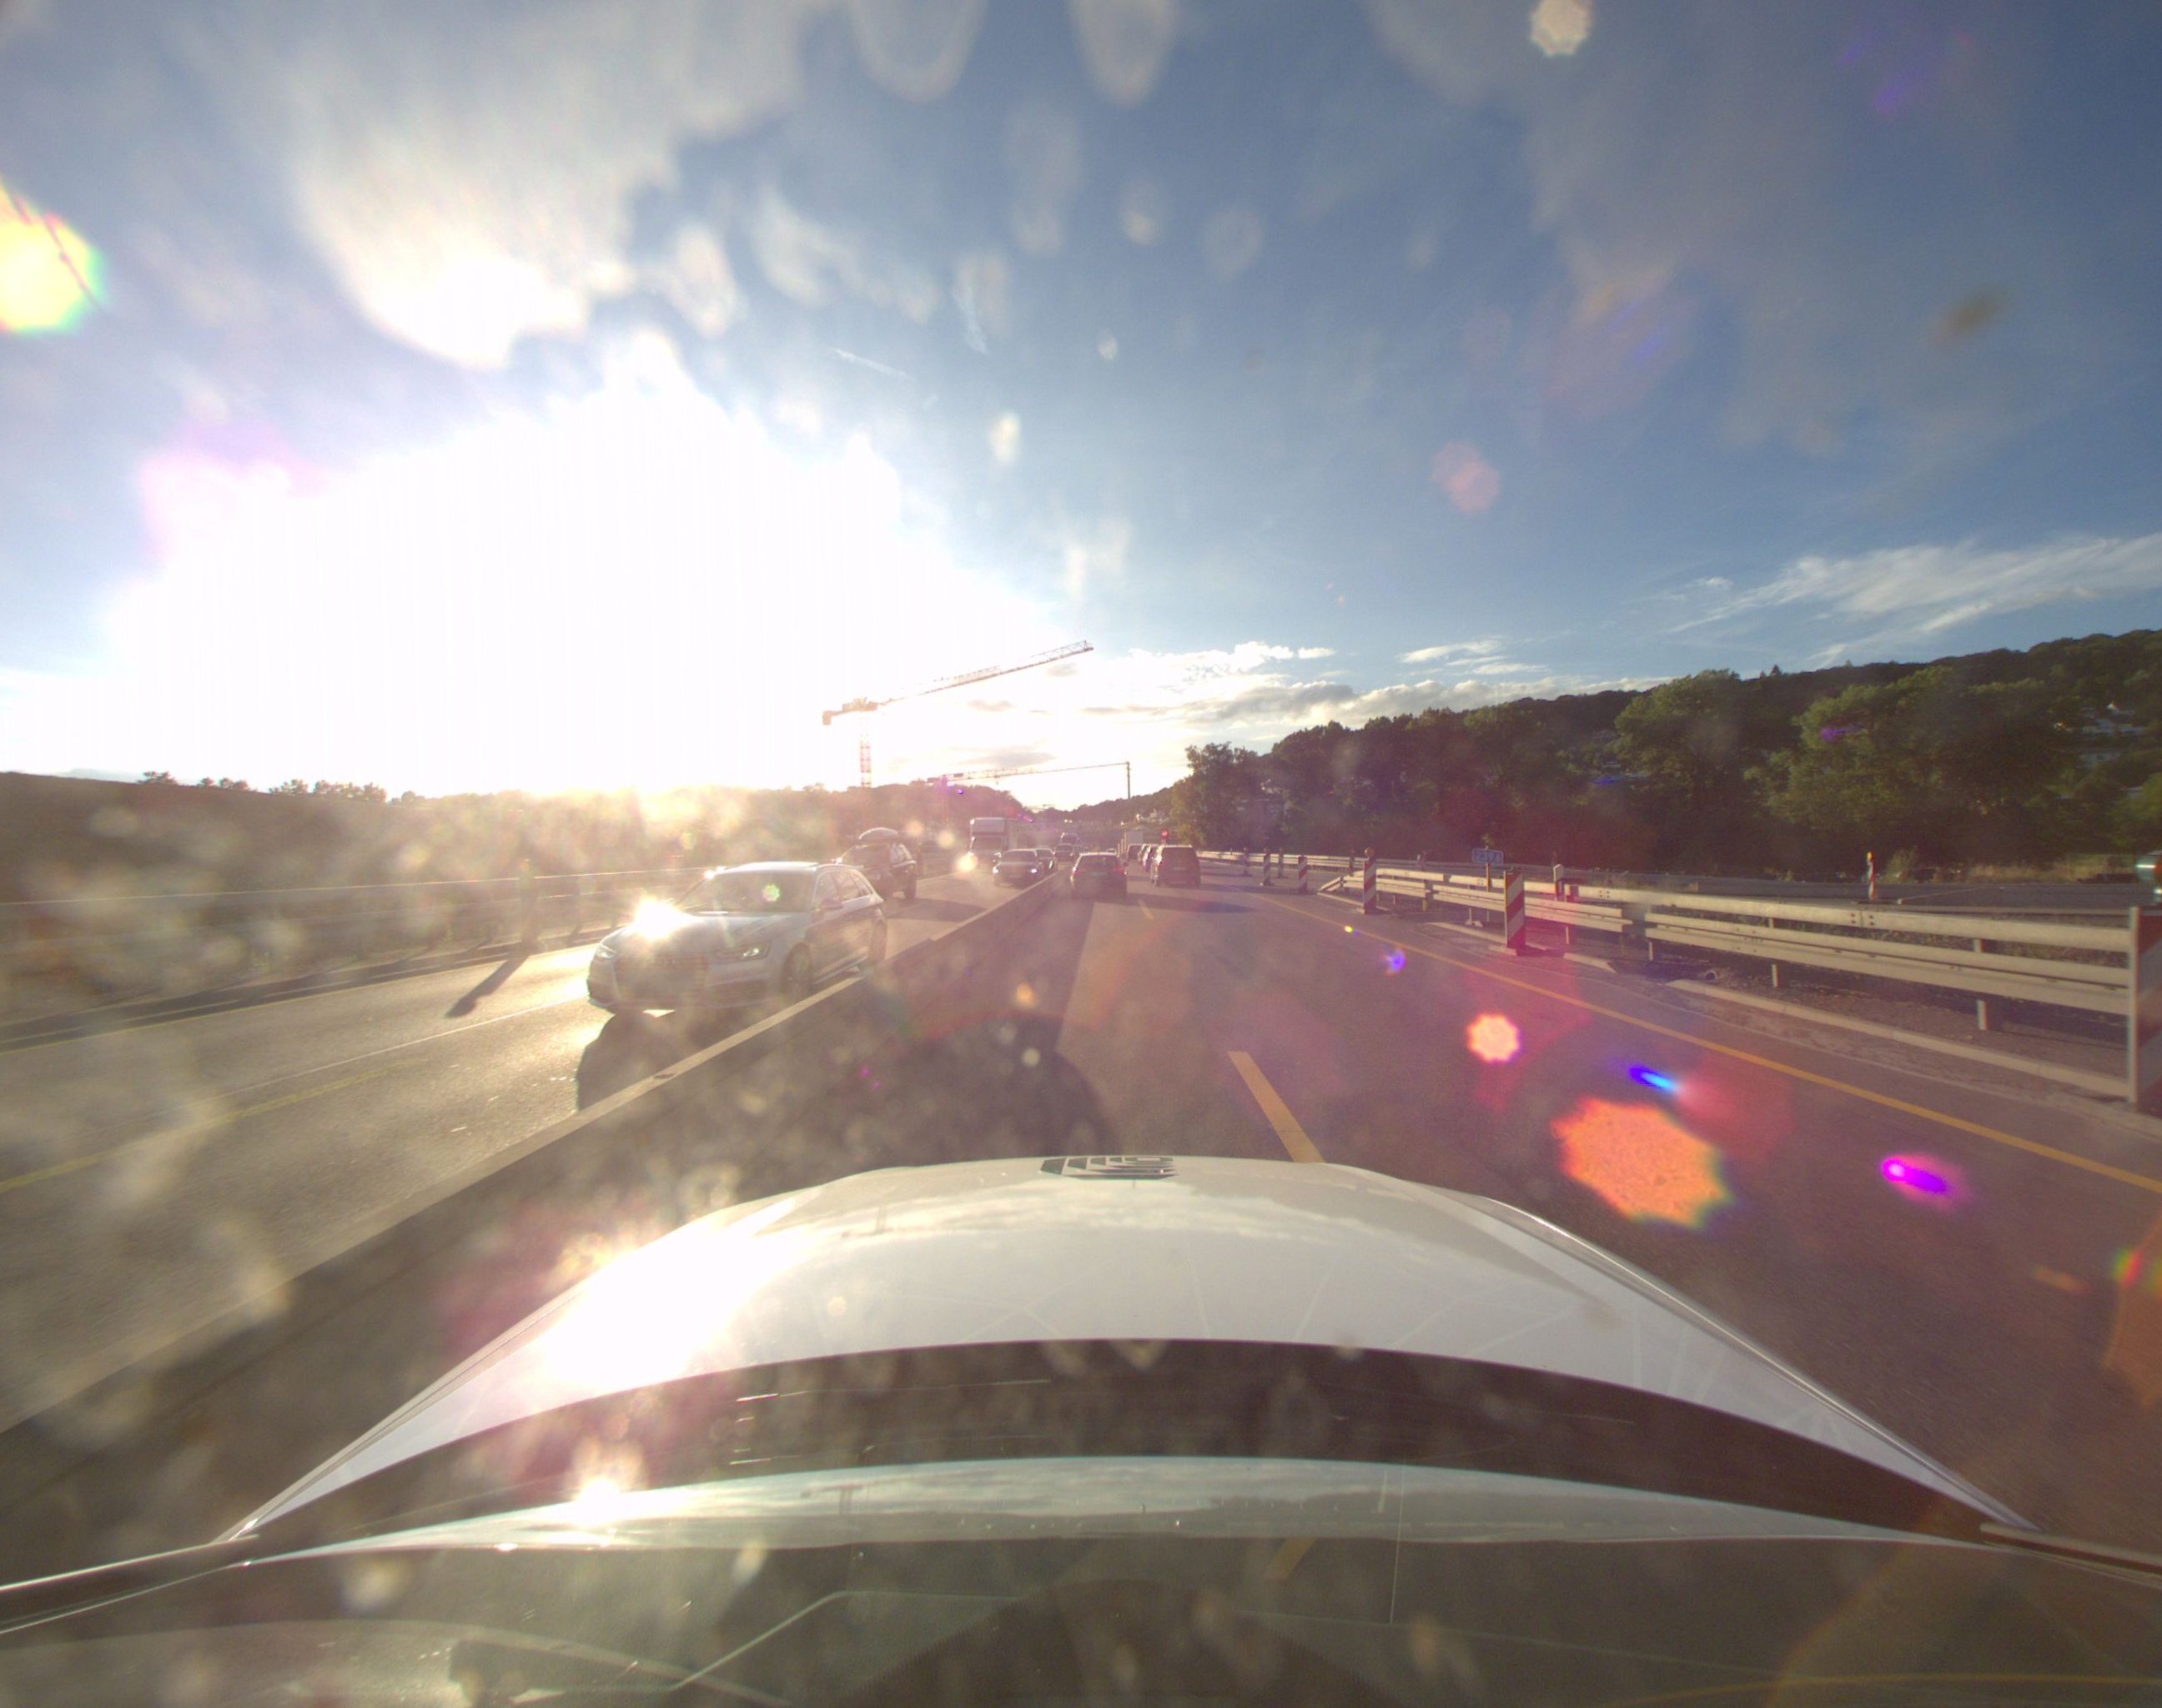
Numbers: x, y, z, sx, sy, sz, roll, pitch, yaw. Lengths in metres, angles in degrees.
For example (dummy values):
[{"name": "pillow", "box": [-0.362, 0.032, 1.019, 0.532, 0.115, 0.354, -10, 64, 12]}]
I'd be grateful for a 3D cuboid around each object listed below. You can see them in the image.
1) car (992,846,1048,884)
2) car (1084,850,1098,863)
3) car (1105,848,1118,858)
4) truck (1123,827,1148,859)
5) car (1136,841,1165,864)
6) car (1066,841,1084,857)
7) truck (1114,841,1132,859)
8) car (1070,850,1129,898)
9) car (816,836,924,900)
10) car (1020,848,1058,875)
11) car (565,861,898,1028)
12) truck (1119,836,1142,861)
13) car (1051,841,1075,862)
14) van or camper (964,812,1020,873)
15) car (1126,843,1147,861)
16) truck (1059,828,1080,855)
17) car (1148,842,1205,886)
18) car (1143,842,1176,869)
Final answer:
[{"name": "car", "box": [-2.504, 0.408, 34.537, 1.808, 1.463, 4.709, -1, 0, 3]}, {"name": "car", "box": [1.297, 0.340, 103.139, 1.761, 1.535, 4.000, 0, 0, 0]}, {"name": "car", "box": [4.460, -0.105, 120.227, 1.856, 1.420, 4.002, 0, 0, 2]}, {"name": "truck", "box": [8.050, -1.736, 122.087, 3.372, 4.497, 15.278, 0, 2, 2]}, {"name": "car", "box": [5.230, -0.079, 61.621, 1.869, 1.599, 4.966, -1, -1, 1]}, {"name": "car", "box": [-0.618, -0.476, 84.492, 1.737, 1.583, 4.706, 0, 0, 1]}, {"name": "truck", "box": [10.357, -1.045, 201.952, 3.878, 4.498, 13.846, 0, 1, 0]}, {"name": "car", "box": [0.567, 0.589, 26.345, 1.764, 1.390, 4.000, 0, 1, 0]}, {"name": "car", "box": [-6.303, 0.406, 24.871, 1.986, 1.764, 4.443, 0, 0, 2]}, {"name": "car", "box": [-2.330, 0.391, 46.510, 1.809, 1.463, 4.707, -1, 0, 1]}, {"name": "car", "box": [-3.513, 0.804, 9.177, 1.854, 1.432, 4.156, 0, 0, 2]}, {"name": "truck", "box": [9.476, -1.103, 157.743, 3.875, 4.498, 15.274, 0, 1, 2]}, {"name": "car", "box": [-1.422, -0.244, 66.639, 1.821, 1.640, 4.530, -1, 0, 1]}, {"name": "van or camper", "box": [-5.460, -0.721, 51.006, 2.448, 3.498, 7.416, -1, 0, 2]}, {"name": "car", "box": [5.198, -0.200, 77.317, 1.808, 1.632, 4.412, 0, 0, 1]}, {"name": "truck", "box": [-1.682, -1.852, 124.126, 2.803, 4.048, 5.677, -1, 0, 3]}, {"name": "car", "box": [3.815, 0.331, 33.198, 1.806, 1.615, 4.527, -2, 1, 1]}, {"name": "car", "box": [4.637, 0.084, 48.692, 1.767, 1.586, 4.137, 0, 0, 2]}]
